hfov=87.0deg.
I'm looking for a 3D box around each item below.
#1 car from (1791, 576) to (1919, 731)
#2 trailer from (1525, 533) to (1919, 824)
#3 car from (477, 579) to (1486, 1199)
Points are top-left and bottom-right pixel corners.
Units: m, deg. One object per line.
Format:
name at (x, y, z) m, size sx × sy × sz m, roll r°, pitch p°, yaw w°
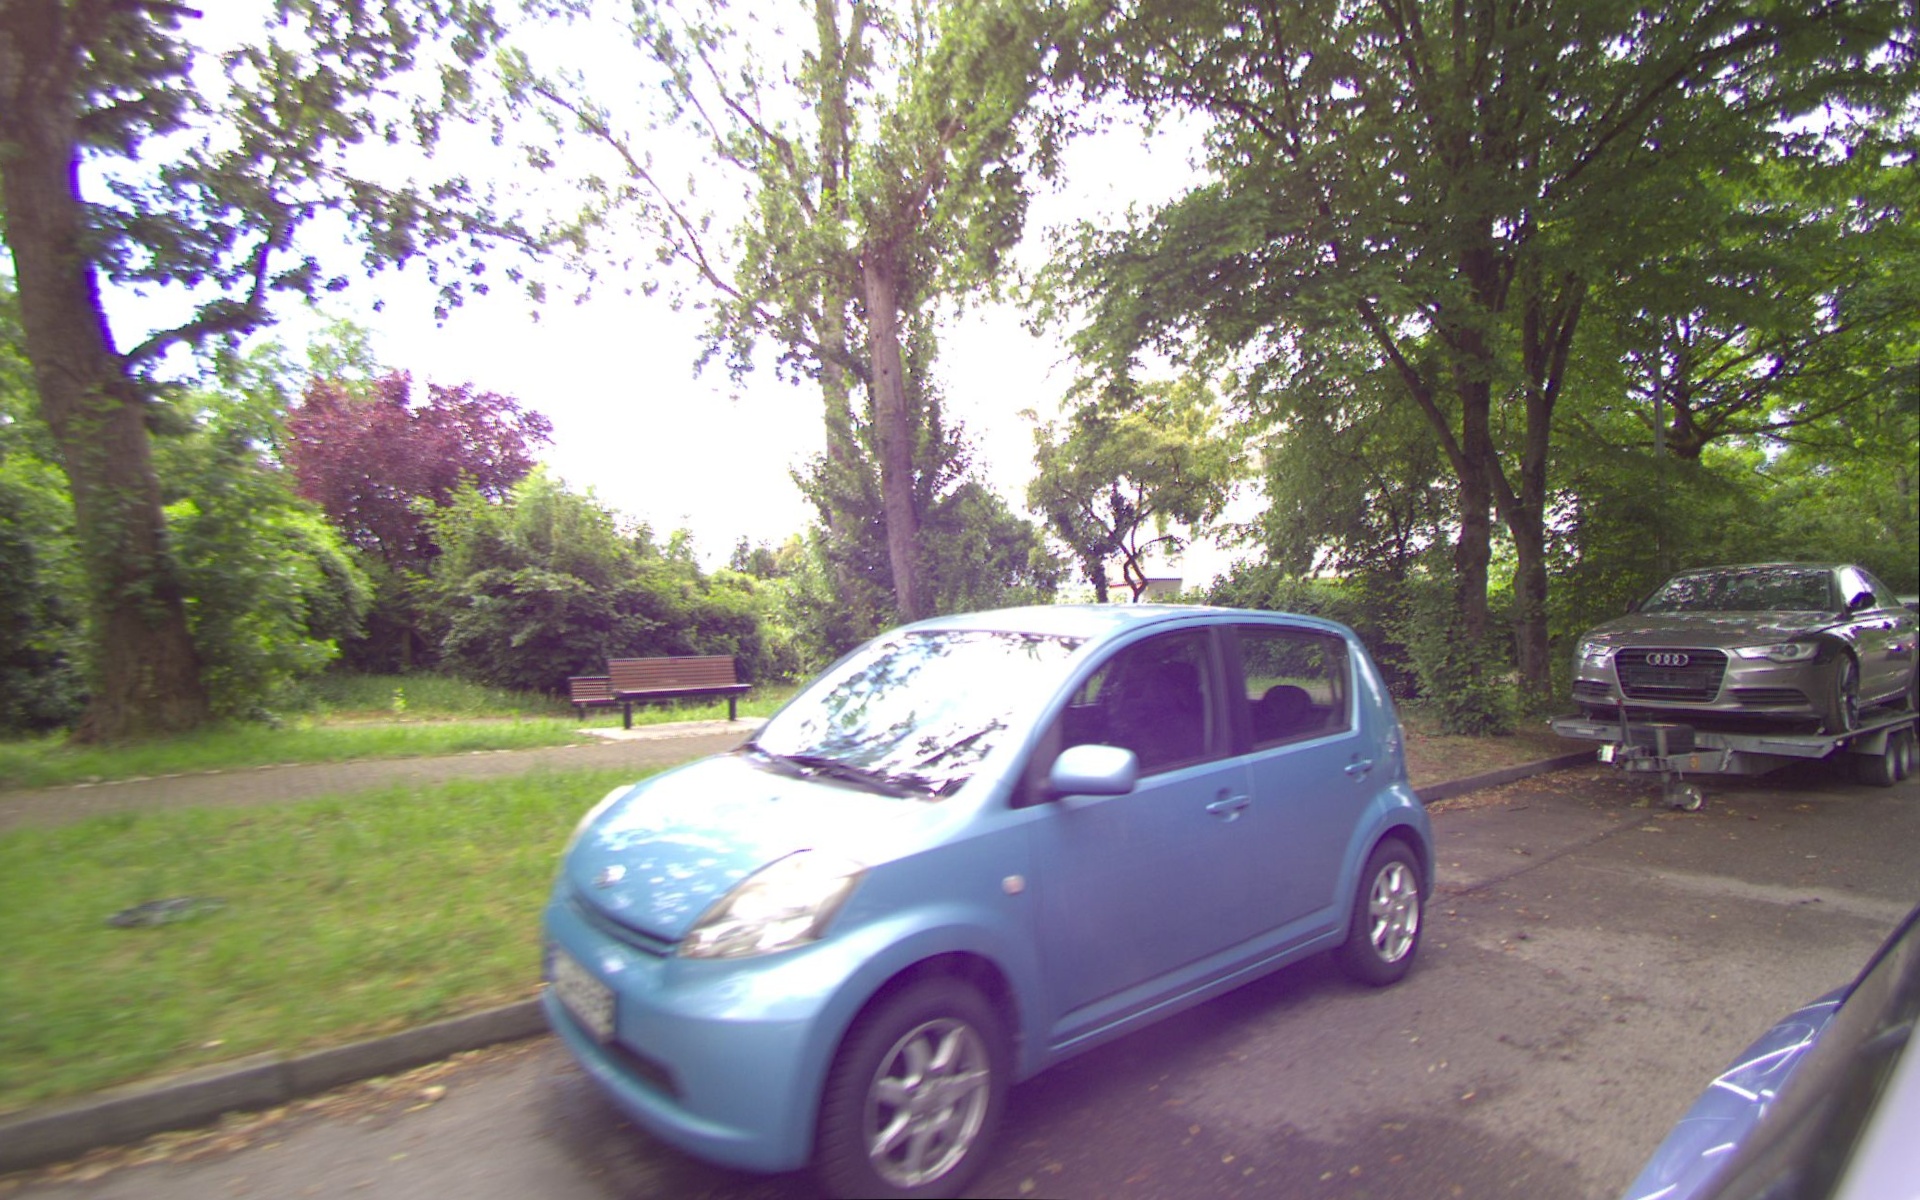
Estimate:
car at (12.272, 0.587, 12.772) m, size 4.517 × 1.706 × 1.844 m, roll 0°, pitch -1°, yaw -39°
trailer at (7.565, 0.474, 9.414) m, size 5.788 × 1.957 × 1.998 m, roll -1°, pitch 0°, yaw -39°
car at (0.357, 0.752, 3.899) m, size 3.701 × 1.567 × 1.698 m, roll 0°, pitch -1°, yaw -40°
